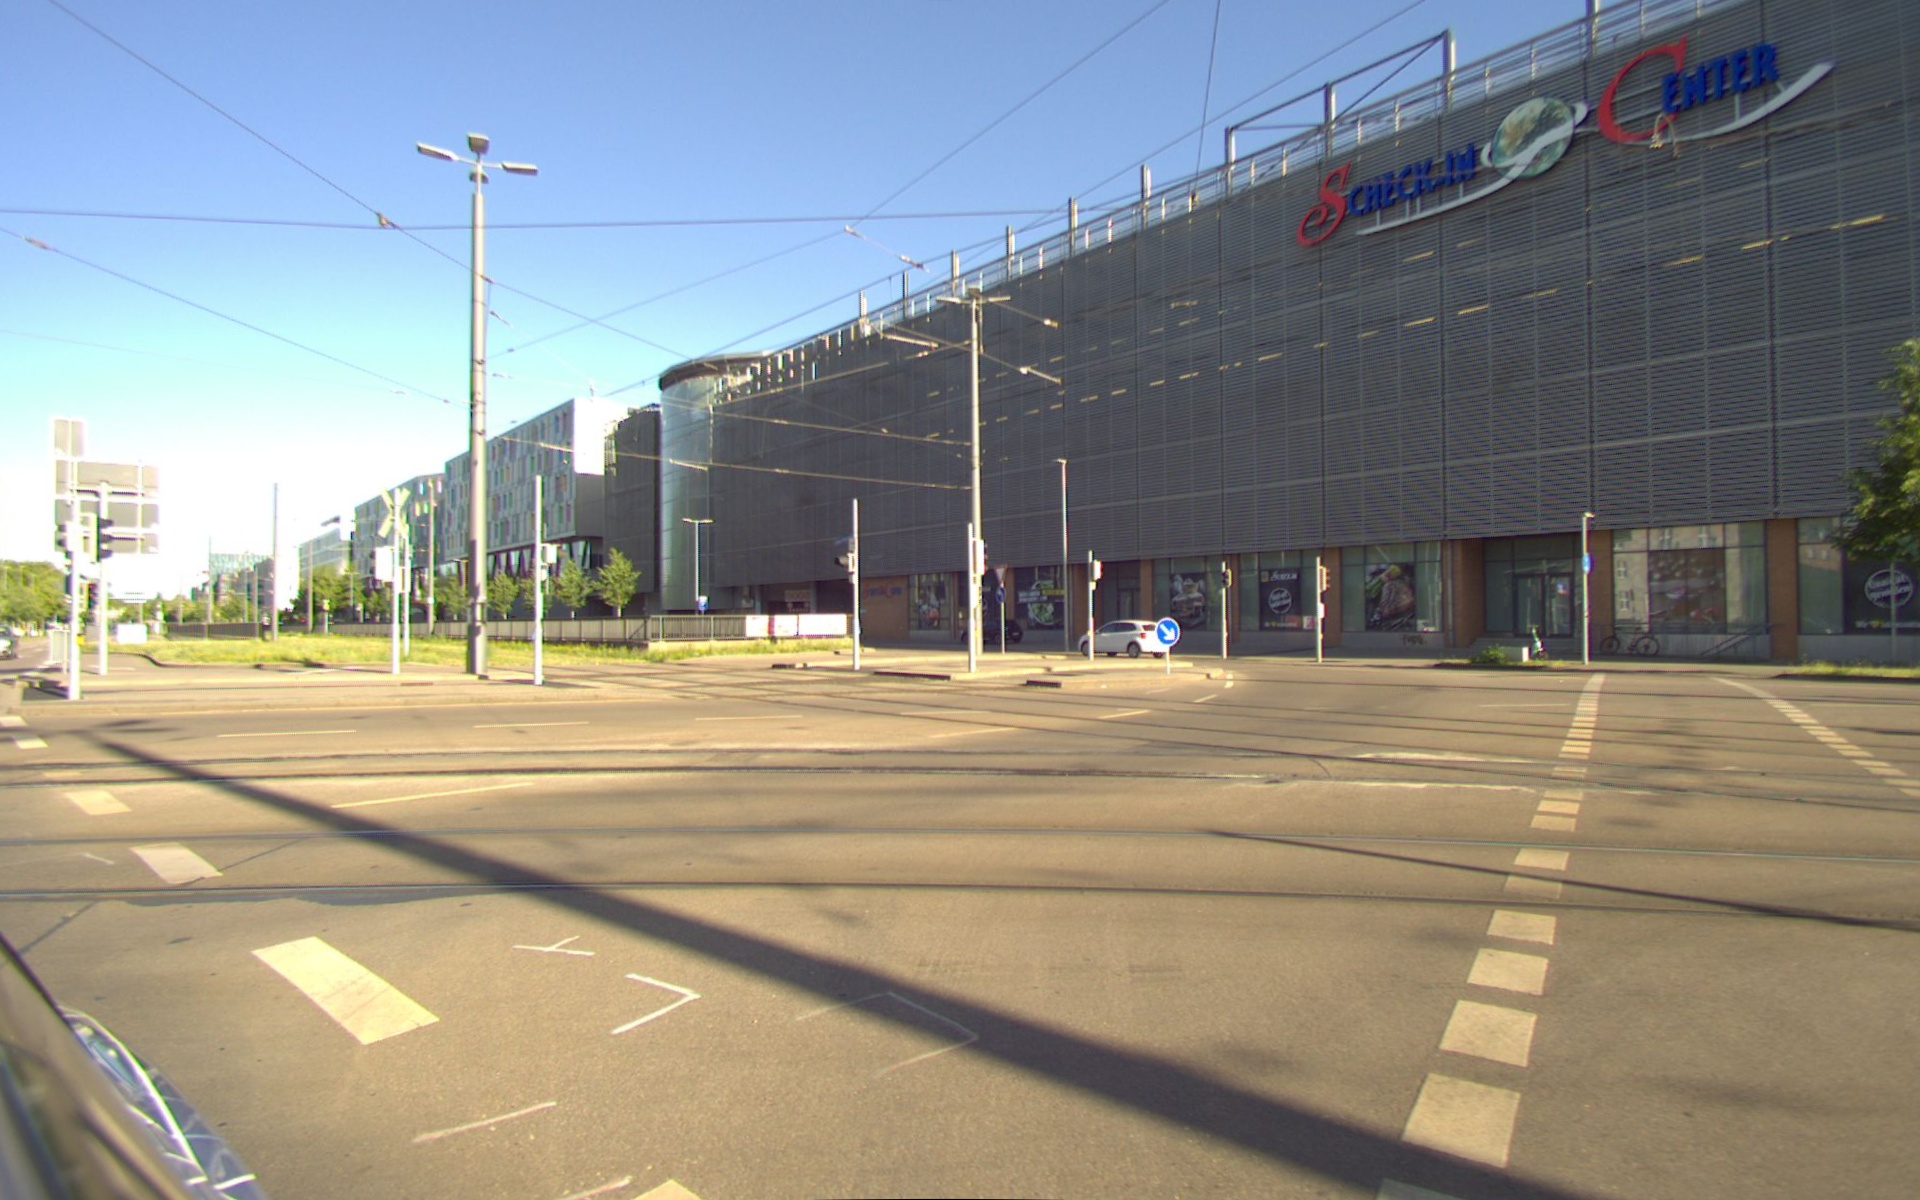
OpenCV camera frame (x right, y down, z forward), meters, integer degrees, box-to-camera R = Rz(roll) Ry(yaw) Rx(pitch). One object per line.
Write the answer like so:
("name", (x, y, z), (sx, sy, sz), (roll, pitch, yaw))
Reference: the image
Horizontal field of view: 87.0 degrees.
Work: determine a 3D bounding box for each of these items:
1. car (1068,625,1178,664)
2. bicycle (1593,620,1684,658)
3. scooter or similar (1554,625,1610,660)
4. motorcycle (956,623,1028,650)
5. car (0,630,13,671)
("car", (6.387, 1.713, 39.885), (1.871, 1.418, 4.005), (2, -2, -41))
("bicycle", (22.783, 1.294, 34.028), (0.790, 1.230, 2.420), (0, -1, -37))
("scooter or similar", (22.747, 1.529, 37.033), (0.783, 1.216, 1.577), (2, -1, -39))
("motorcycle", (1.803, 2.077, 58.026), (1.968, 1.464, 4.006), (1, -2, -40))
("car", (-40.484, 2.083, 41.716), (1.879, 1.634, 4.006), (1, -1, -40))
